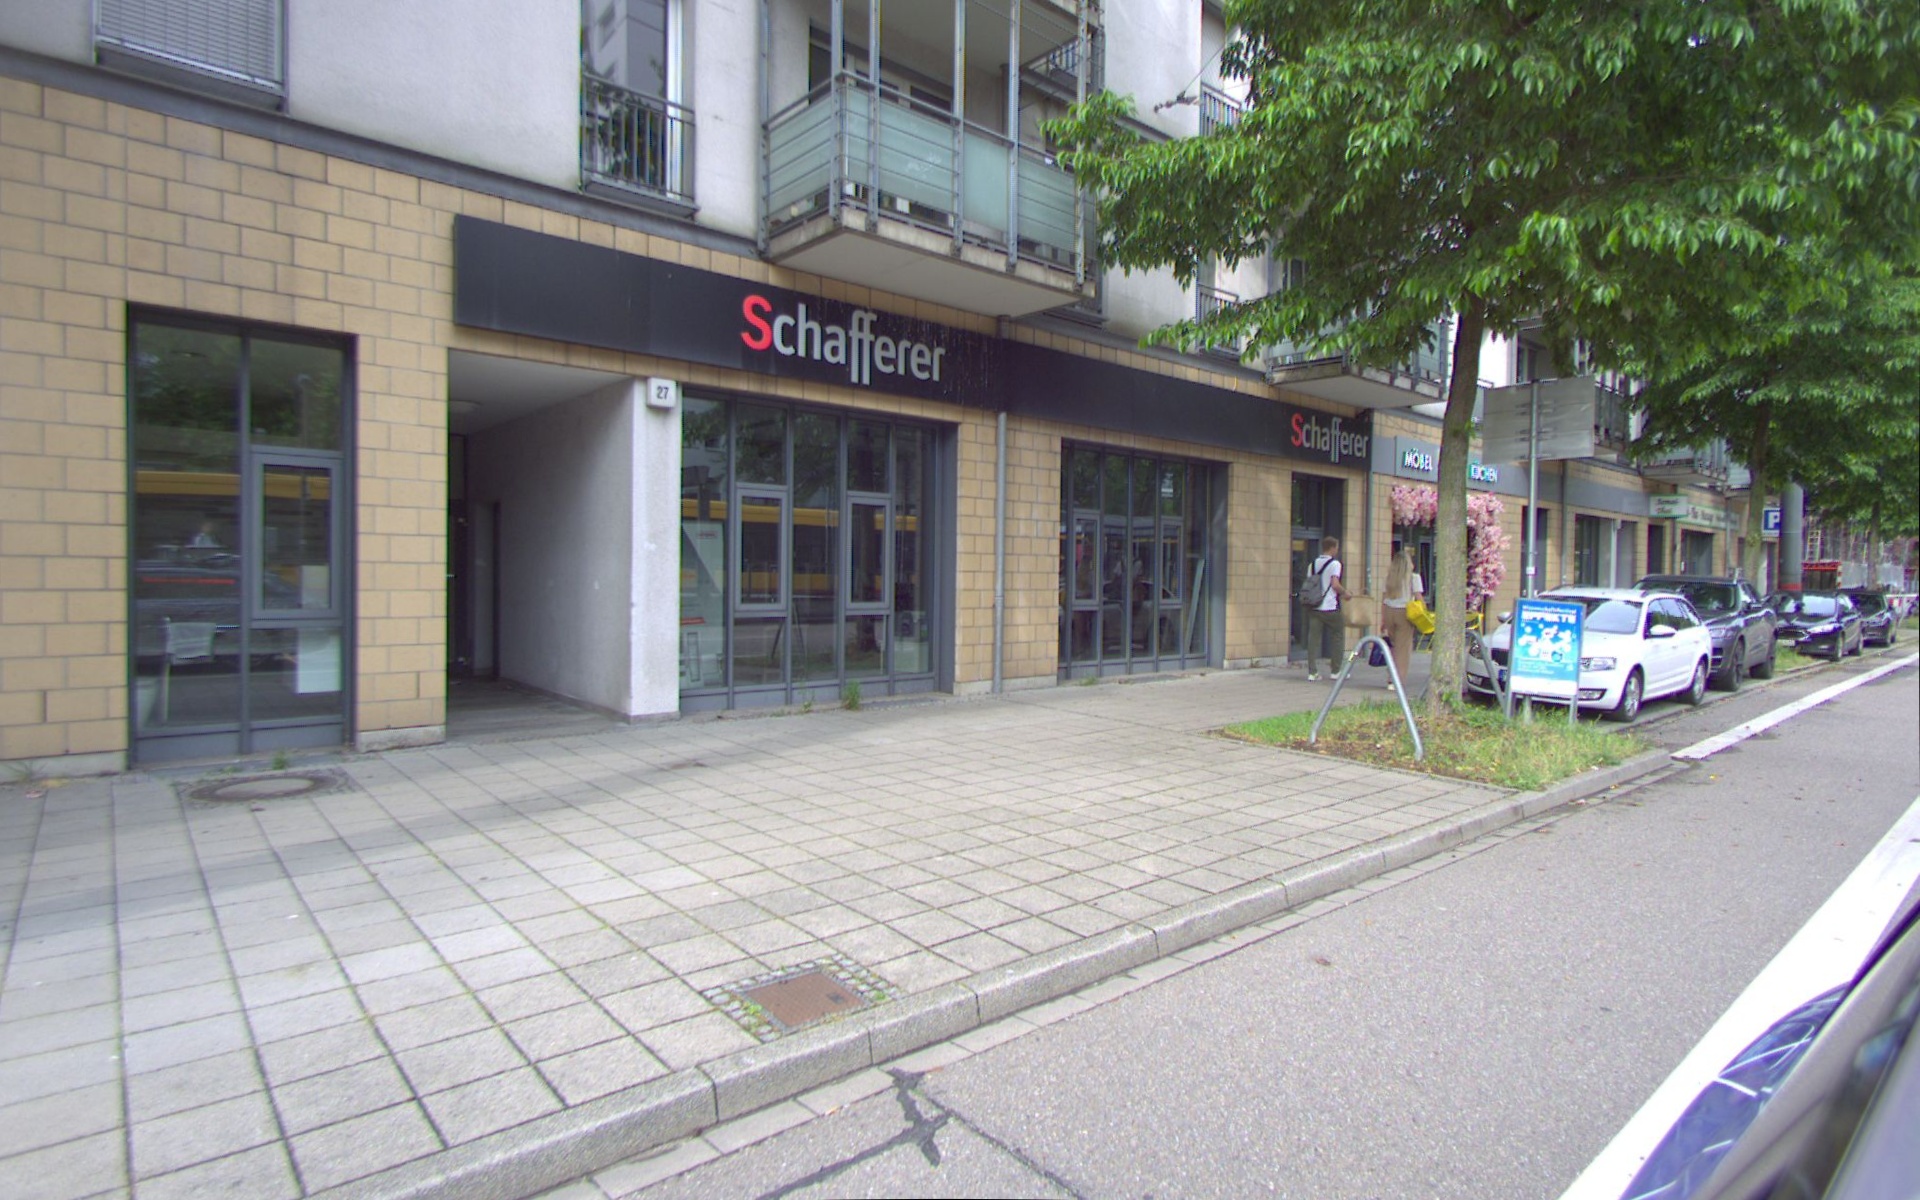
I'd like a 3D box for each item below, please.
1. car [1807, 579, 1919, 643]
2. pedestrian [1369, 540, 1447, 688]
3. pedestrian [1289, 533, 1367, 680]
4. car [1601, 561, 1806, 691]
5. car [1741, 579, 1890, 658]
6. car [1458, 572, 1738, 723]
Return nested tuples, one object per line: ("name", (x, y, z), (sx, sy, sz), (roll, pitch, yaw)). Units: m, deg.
("car", (24.318, 0.226, 27.202), (4.315, 1.472, 1.800), (-1, 5, -43))
("pedestrian", (5.729, 0.157, 12.952), (0.724, 1.828, 0.617), (0, 2, -39))
("pedestrian", (4.972, 0.072, 13.678), (0.724, 1.914, 0.677), (0, 2, -39))
("car", (12.076, 0.303, 16.317), (4.632, 1.737, 1.715), (-1, 4, -42))
("car", (18.720, 0.328, 22.084), (4.329, 1.459, 1.681), (-1, 4, -40))
("car", (8.130, 0.459, 12.743), (4.312, 1.517, 1.681), (-1, 4, -40))
